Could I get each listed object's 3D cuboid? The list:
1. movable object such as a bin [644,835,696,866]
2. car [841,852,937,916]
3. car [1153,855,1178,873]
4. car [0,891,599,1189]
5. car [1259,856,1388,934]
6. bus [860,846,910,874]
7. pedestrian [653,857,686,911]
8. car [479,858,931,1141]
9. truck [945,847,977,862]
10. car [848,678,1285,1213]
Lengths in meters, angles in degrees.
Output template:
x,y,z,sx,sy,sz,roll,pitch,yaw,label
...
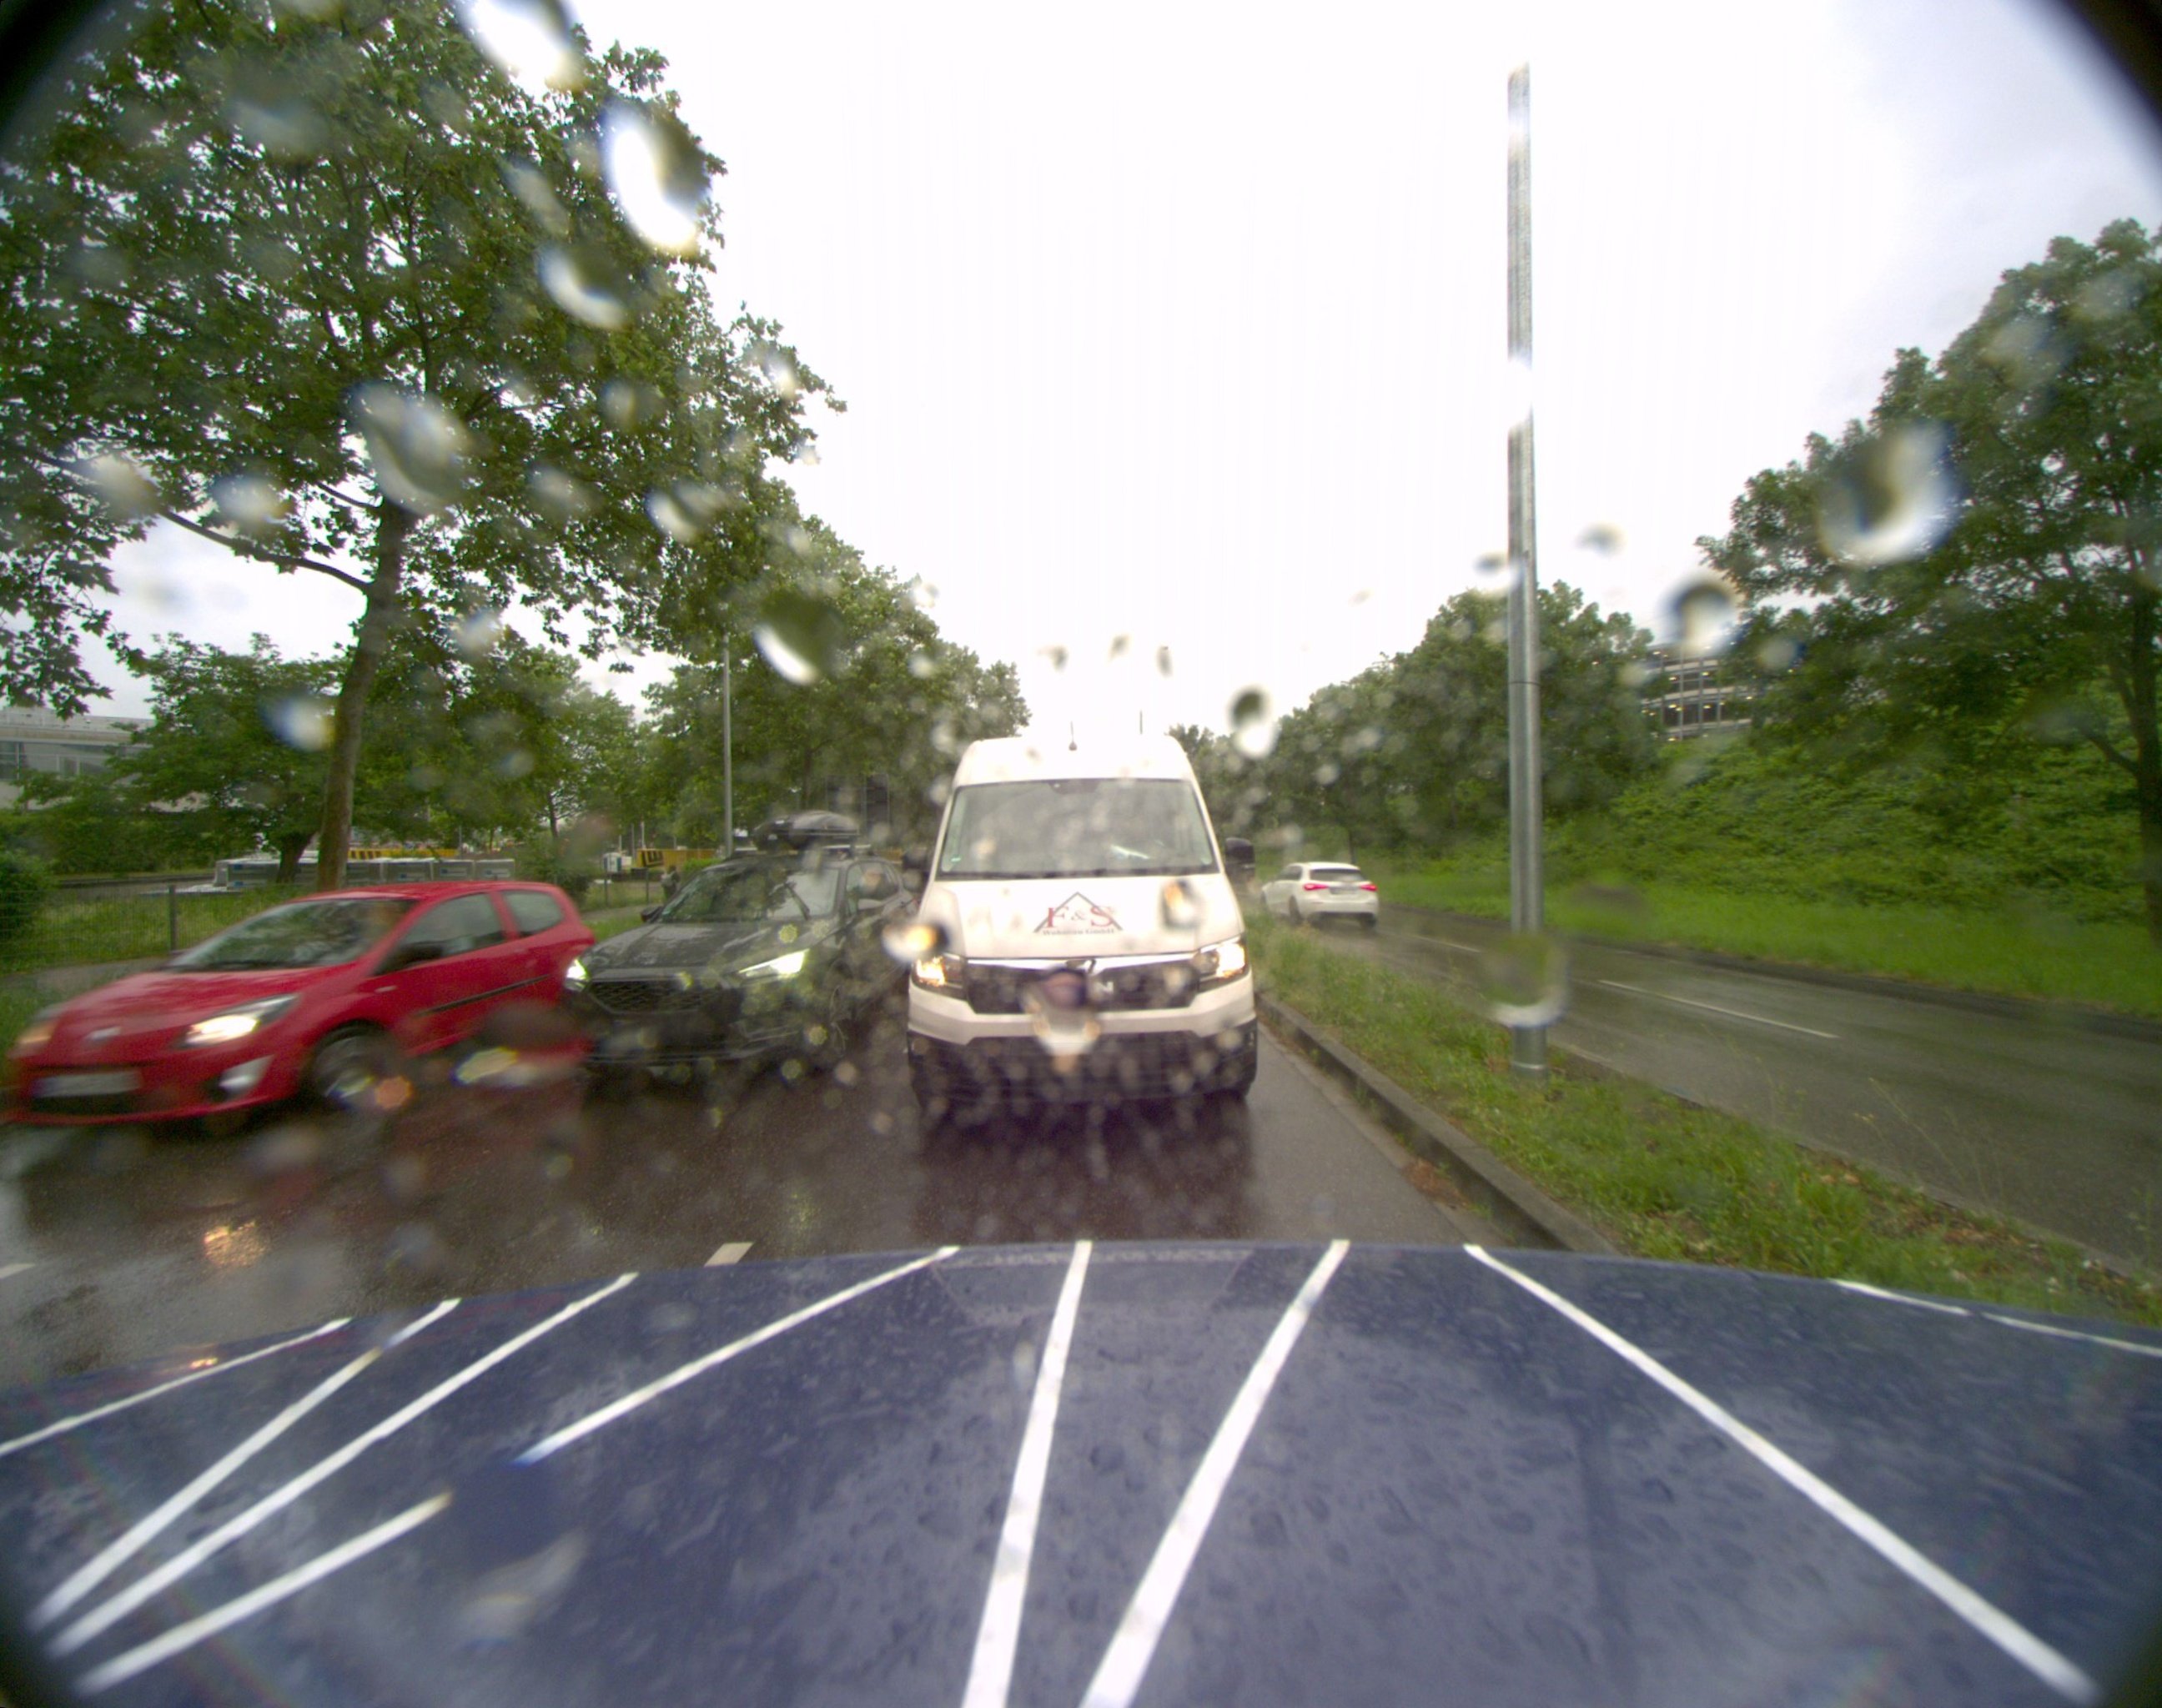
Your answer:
x,y,z,sx,sy,sz,roll,pitch,yaw,label
-48.381,-0.413,89.590,4.947,3.415,1.913,-3,1,-41,movable object such as a bin
-5.649,0.840,22.874,1.679,1.675,4.148,-3,0,1,car
7.777,0.900,70.272,1.891,1.510,4.301,1,0,0,car
-5.639,1.119,5.912,1.573,1.454,3.389,-2,0,0,car
5.535,0.862,17.890,1.739,1.511,4.047,2,1,0,car
-19.142,0.572,74.383,4.370,2.553,1.711,-2,1,0,bus
-13.540,0.977,25.011,0.646,1.707,0.656,-2,1,1,pedestrian
-2.771,0.919,6.934,1.894,1.688,4.423,-1,0,0,car
-20.989,0.098,132.612,5.061,2.363,1.792,-3,1,-30,truck
-0.111,0.427,6.451,2.027,2.498,5.695,-1,0,-1,car
